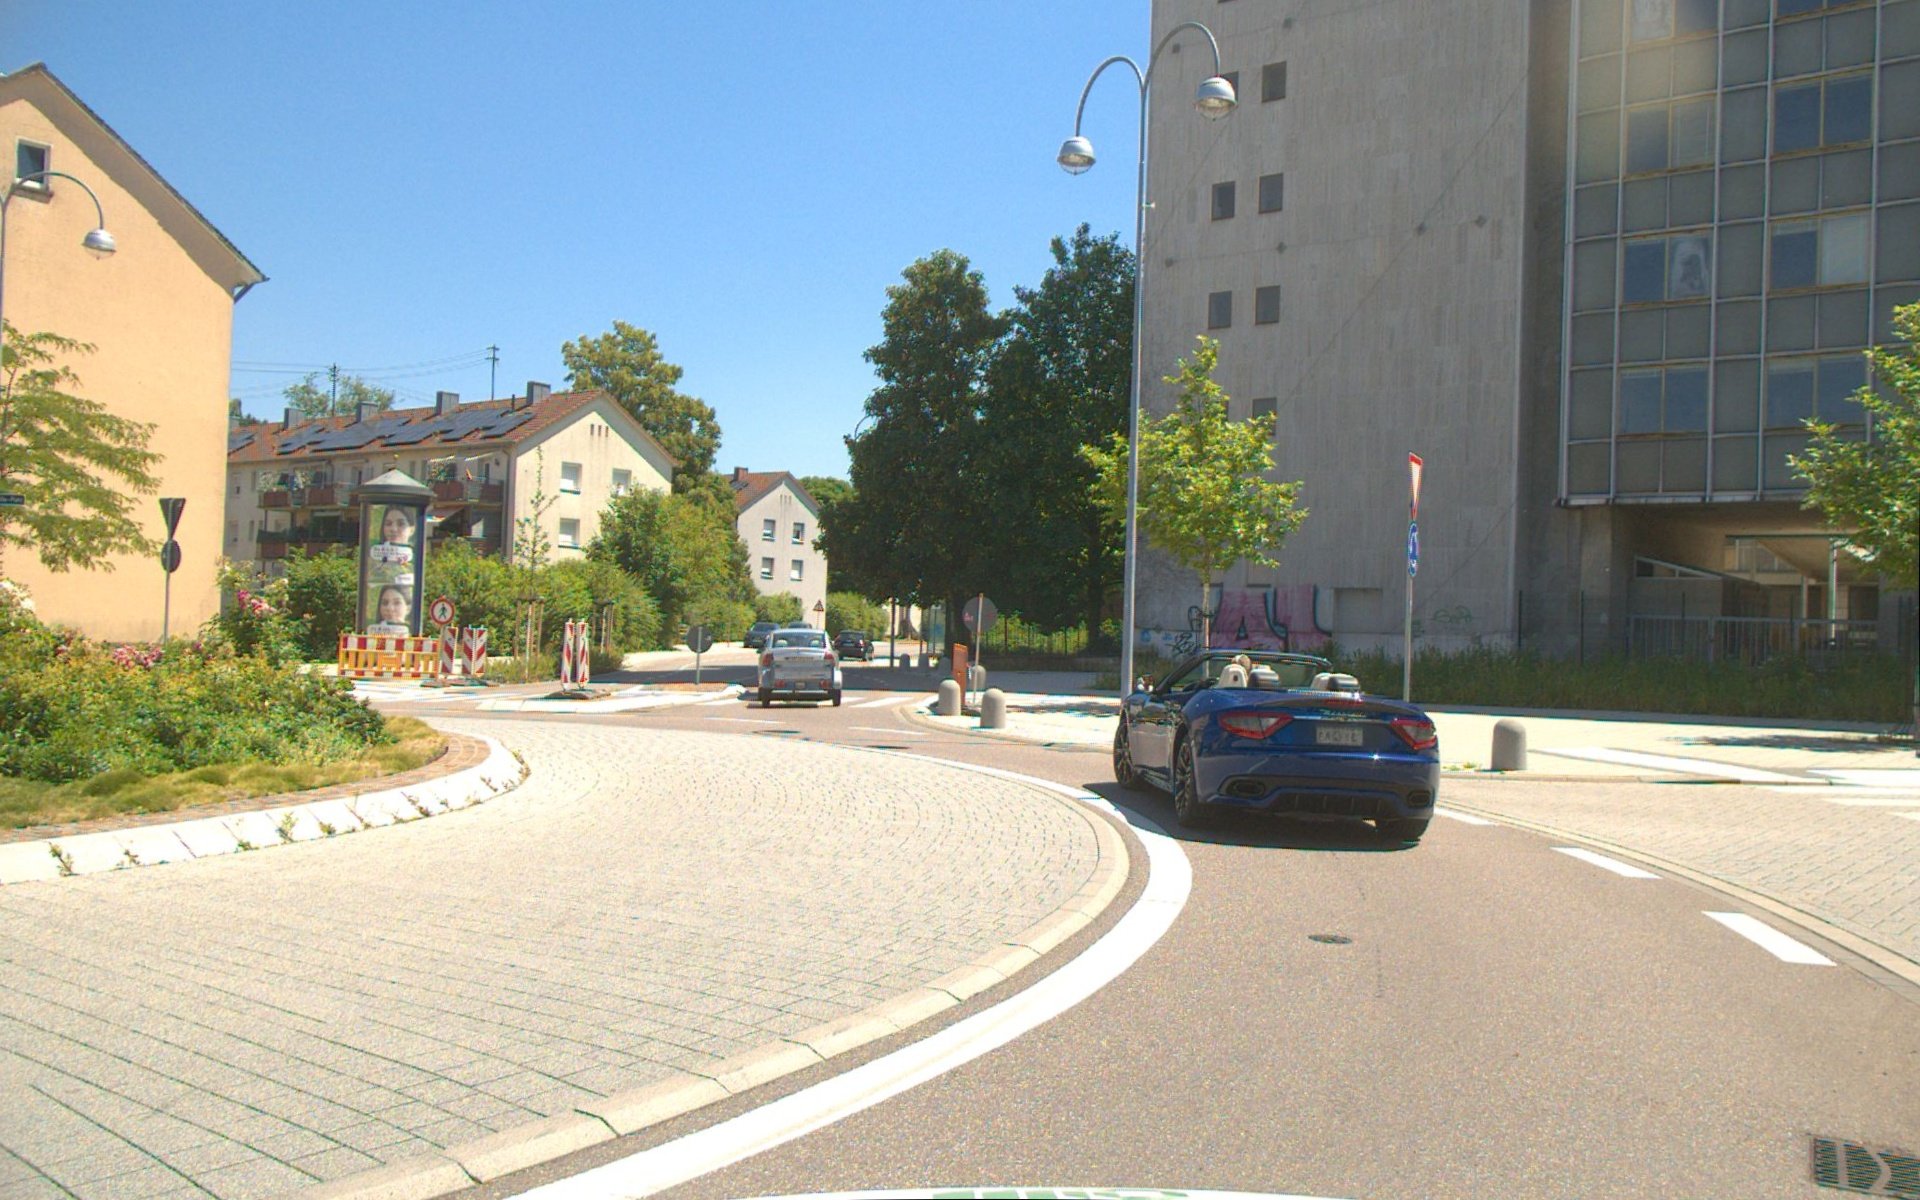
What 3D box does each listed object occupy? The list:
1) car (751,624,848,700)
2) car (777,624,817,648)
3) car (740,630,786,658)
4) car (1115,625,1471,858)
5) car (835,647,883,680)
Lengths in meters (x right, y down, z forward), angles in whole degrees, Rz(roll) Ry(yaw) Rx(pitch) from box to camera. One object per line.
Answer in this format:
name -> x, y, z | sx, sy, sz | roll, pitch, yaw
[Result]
car -> -3.378, 1.238, 34.286 | 1.707, 1.462, 3.701 | 0, -1, -10
car -> -10.263, 2.233, 104.392 | 1.702, 1.462, 3.713 | 0, -1, 7
car -> -10.909, 2.443, 91.917 | 1.702, 1.462, 3.713 | 0, -1, 7
car -> 2.516, 1.073, 13.660 | 1.833, 1.557, 4.503 | 2, -3, -3
car -> -4.790, 3.011, 78.730 | 1.702, 1.462, 3.713 | 0, -1, 6
